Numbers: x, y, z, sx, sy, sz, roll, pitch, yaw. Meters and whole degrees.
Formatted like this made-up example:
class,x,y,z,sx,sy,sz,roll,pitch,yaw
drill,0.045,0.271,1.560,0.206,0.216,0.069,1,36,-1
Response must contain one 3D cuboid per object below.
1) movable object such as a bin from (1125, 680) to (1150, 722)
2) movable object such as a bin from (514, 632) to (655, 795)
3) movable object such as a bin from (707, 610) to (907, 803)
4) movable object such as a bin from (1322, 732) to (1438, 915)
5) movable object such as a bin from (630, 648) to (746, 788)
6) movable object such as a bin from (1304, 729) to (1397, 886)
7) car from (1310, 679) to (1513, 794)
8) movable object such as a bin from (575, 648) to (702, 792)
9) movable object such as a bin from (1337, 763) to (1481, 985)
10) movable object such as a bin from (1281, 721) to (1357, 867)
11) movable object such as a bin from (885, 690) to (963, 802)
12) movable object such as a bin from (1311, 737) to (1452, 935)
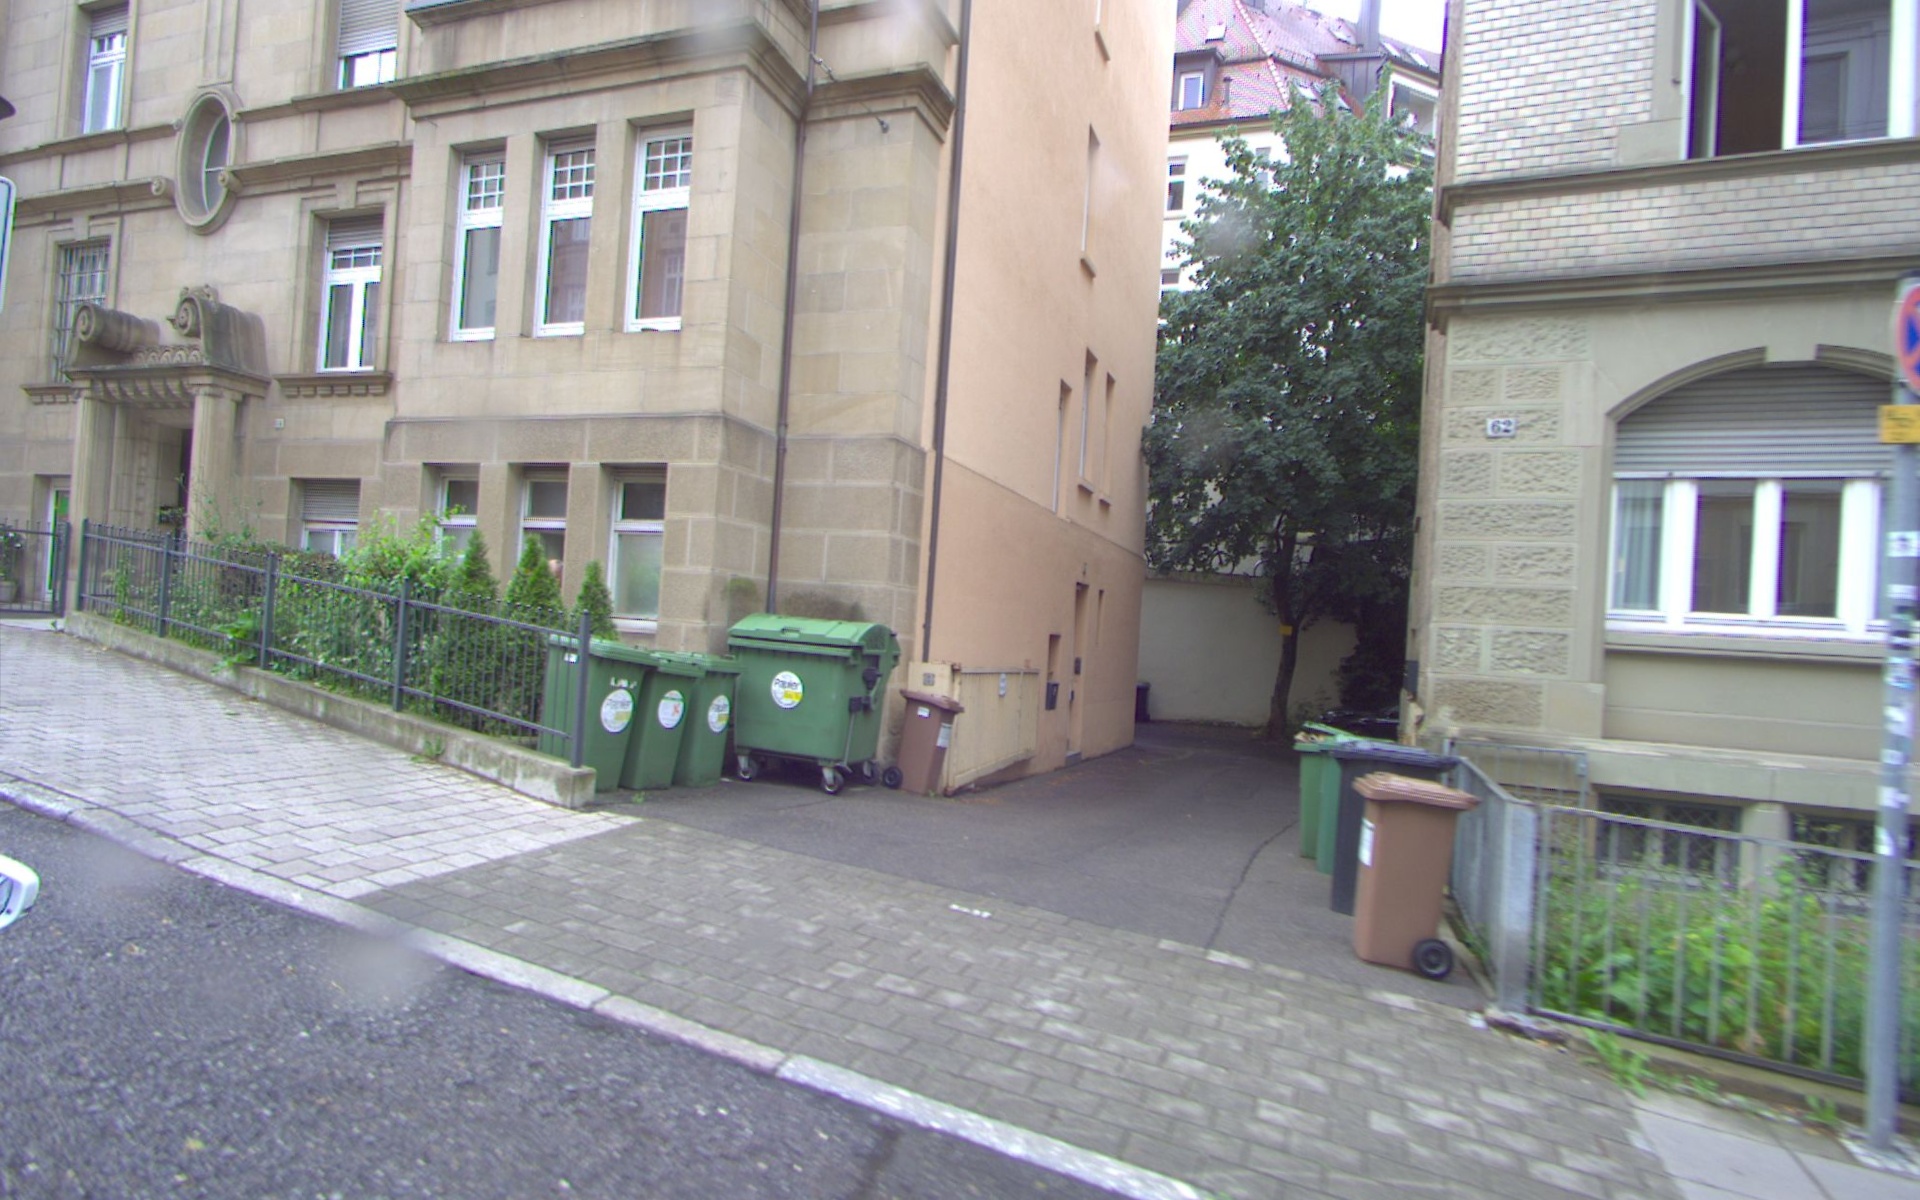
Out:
class,x,y,z,sx,sy,sz,roll,pitch,yaw
movable object such as a bin,4.841,2.743,27.422,0.532,1.053,0.563,4,4,20
movable object such as a bin,-2.636,0.797,7.096,0.593,1.036,0.540,6,-4,20
movable object such as a bin,-1.314,0.924,8.819,1.256,1.446,0.976,6,-4,20
movable object such as a bin,2.821,1.471,6.772,0.598,1.072,0.501,6,-3,24
movable object such as a bin,-2.220,0.959,8.247,0.593,1.036,0.540,6,-4,20
movable object such as a bin,3.007,1.572,7.744,0.545,1.072,0.498,6,-3,24
car,10.417,3.079,23.321,3.930,1.530,1.796,13,5,28
movable object such as a bin,-2.431,0.904,7.638,0.593,0.978,0.540,6,-4,20
movable object such as a bin,2.248,1.354,5.083,0.527,0.932,0.427,7,2,20
movable object such as a bin,3.032,1.611,8.478,0.469,1.113,0.521,6,-3,23
movable object such as a bin,-0.327,1.343,9.315,0.510,0.952,0.395,6,-4,20
movable object such as a bin,2.598,1.413,6.187,0.653,1.041,0.529,6,-4,30
